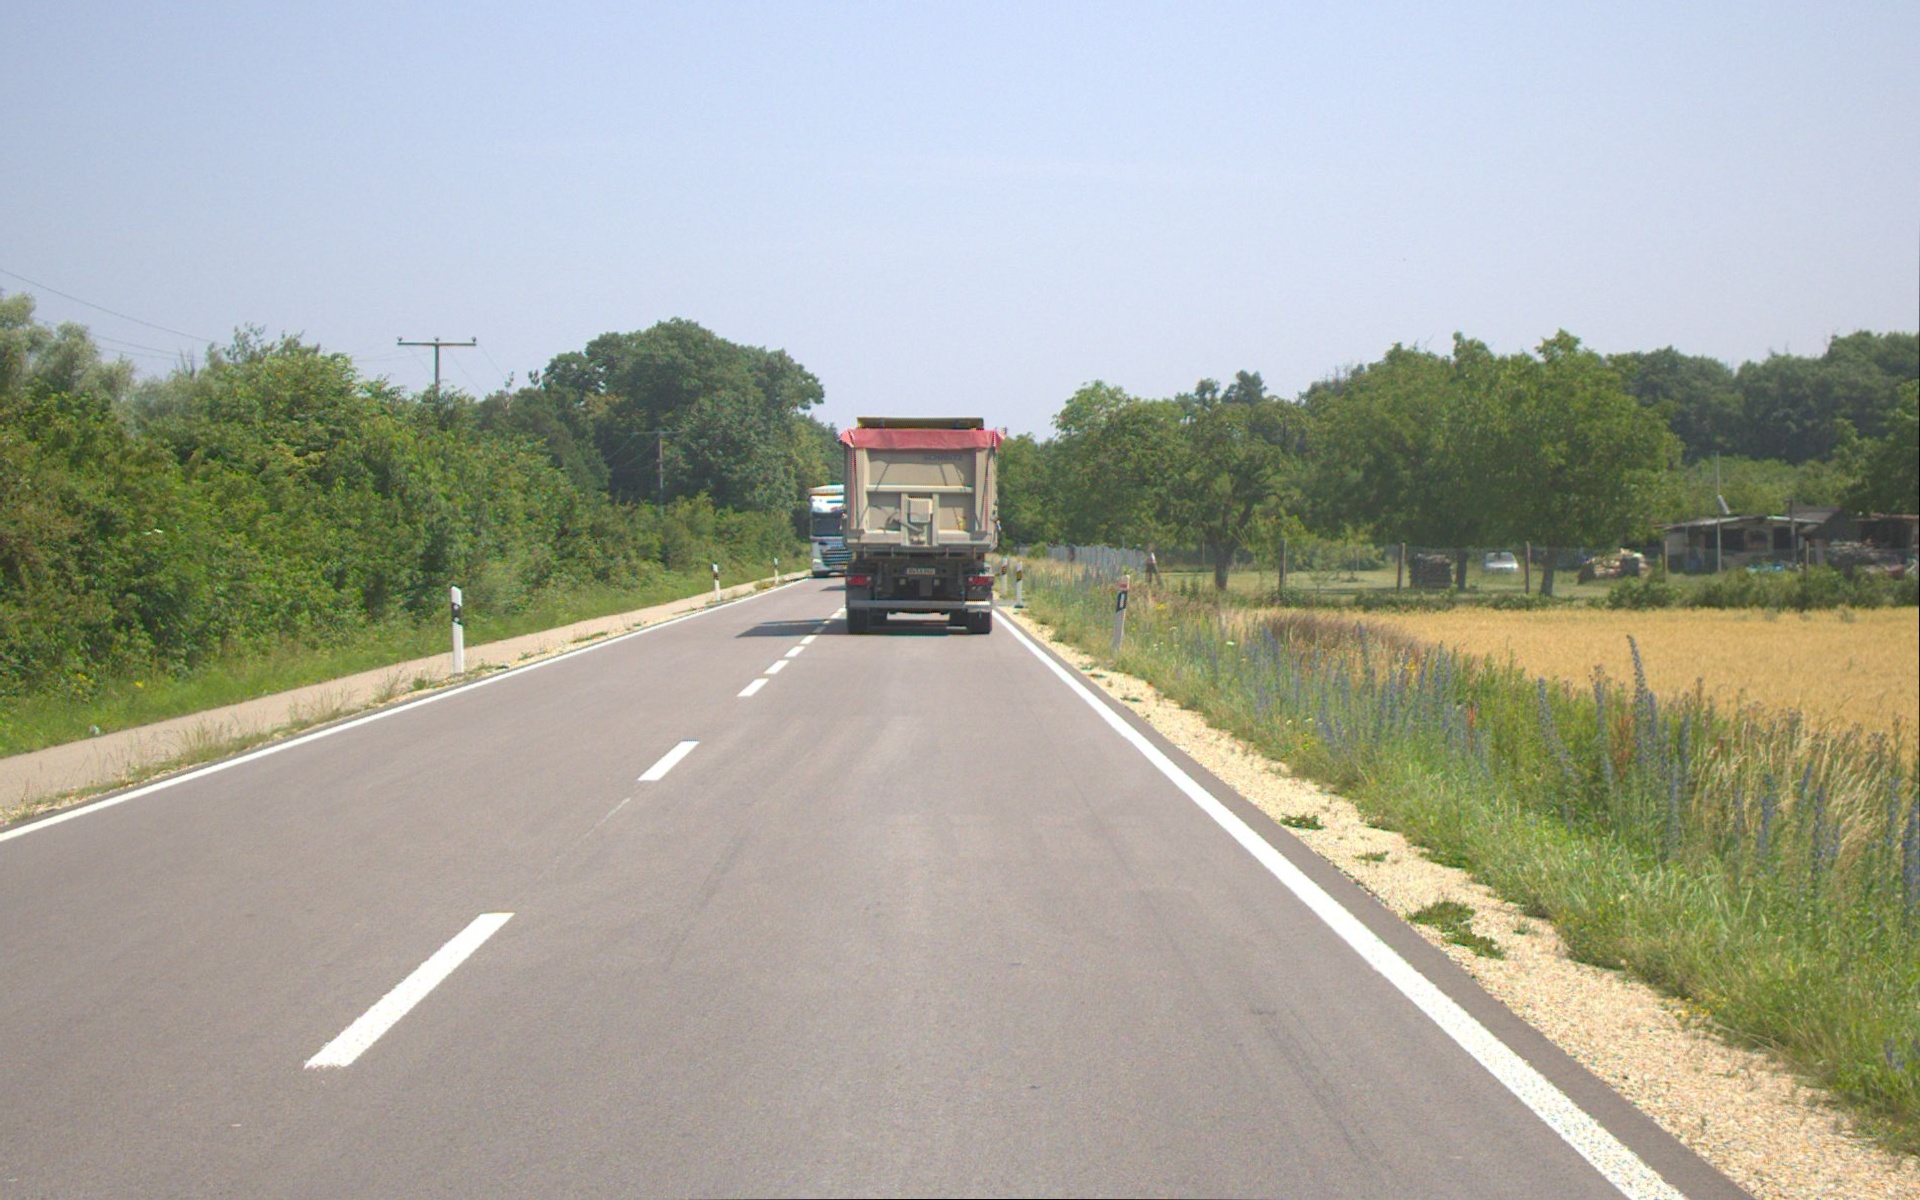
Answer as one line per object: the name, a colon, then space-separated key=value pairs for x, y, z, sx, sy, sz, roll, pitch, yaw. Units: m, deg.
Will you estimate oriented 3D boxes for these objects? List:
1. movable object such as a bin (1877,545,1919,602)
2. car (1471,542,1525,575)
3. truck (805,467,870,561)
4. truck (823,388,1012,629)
movable object such as a bin: x=25.758 y=-0.719 z=91.233 sx=1.570 sy=1.491 sz=3.660 roll=0 pitch=1 yaw=-5
car: x=25.465 y=-1.981 z=162.849 sx=1.592 sy=1.481 sz=3.429 roll=0 pitch=2 yaw=-8
truck: x=-5.751 y=-4.030 z=162.349 sx=2.717 sy=4.251 sz=7.390 roll=-2 pitch=1 yaw=-1
truck: x=-0.782 y=-1.572 z=62.323 sx=3.009 sy=3.861 sz=12.210 roll=1 pitch=1 yaw=-1
